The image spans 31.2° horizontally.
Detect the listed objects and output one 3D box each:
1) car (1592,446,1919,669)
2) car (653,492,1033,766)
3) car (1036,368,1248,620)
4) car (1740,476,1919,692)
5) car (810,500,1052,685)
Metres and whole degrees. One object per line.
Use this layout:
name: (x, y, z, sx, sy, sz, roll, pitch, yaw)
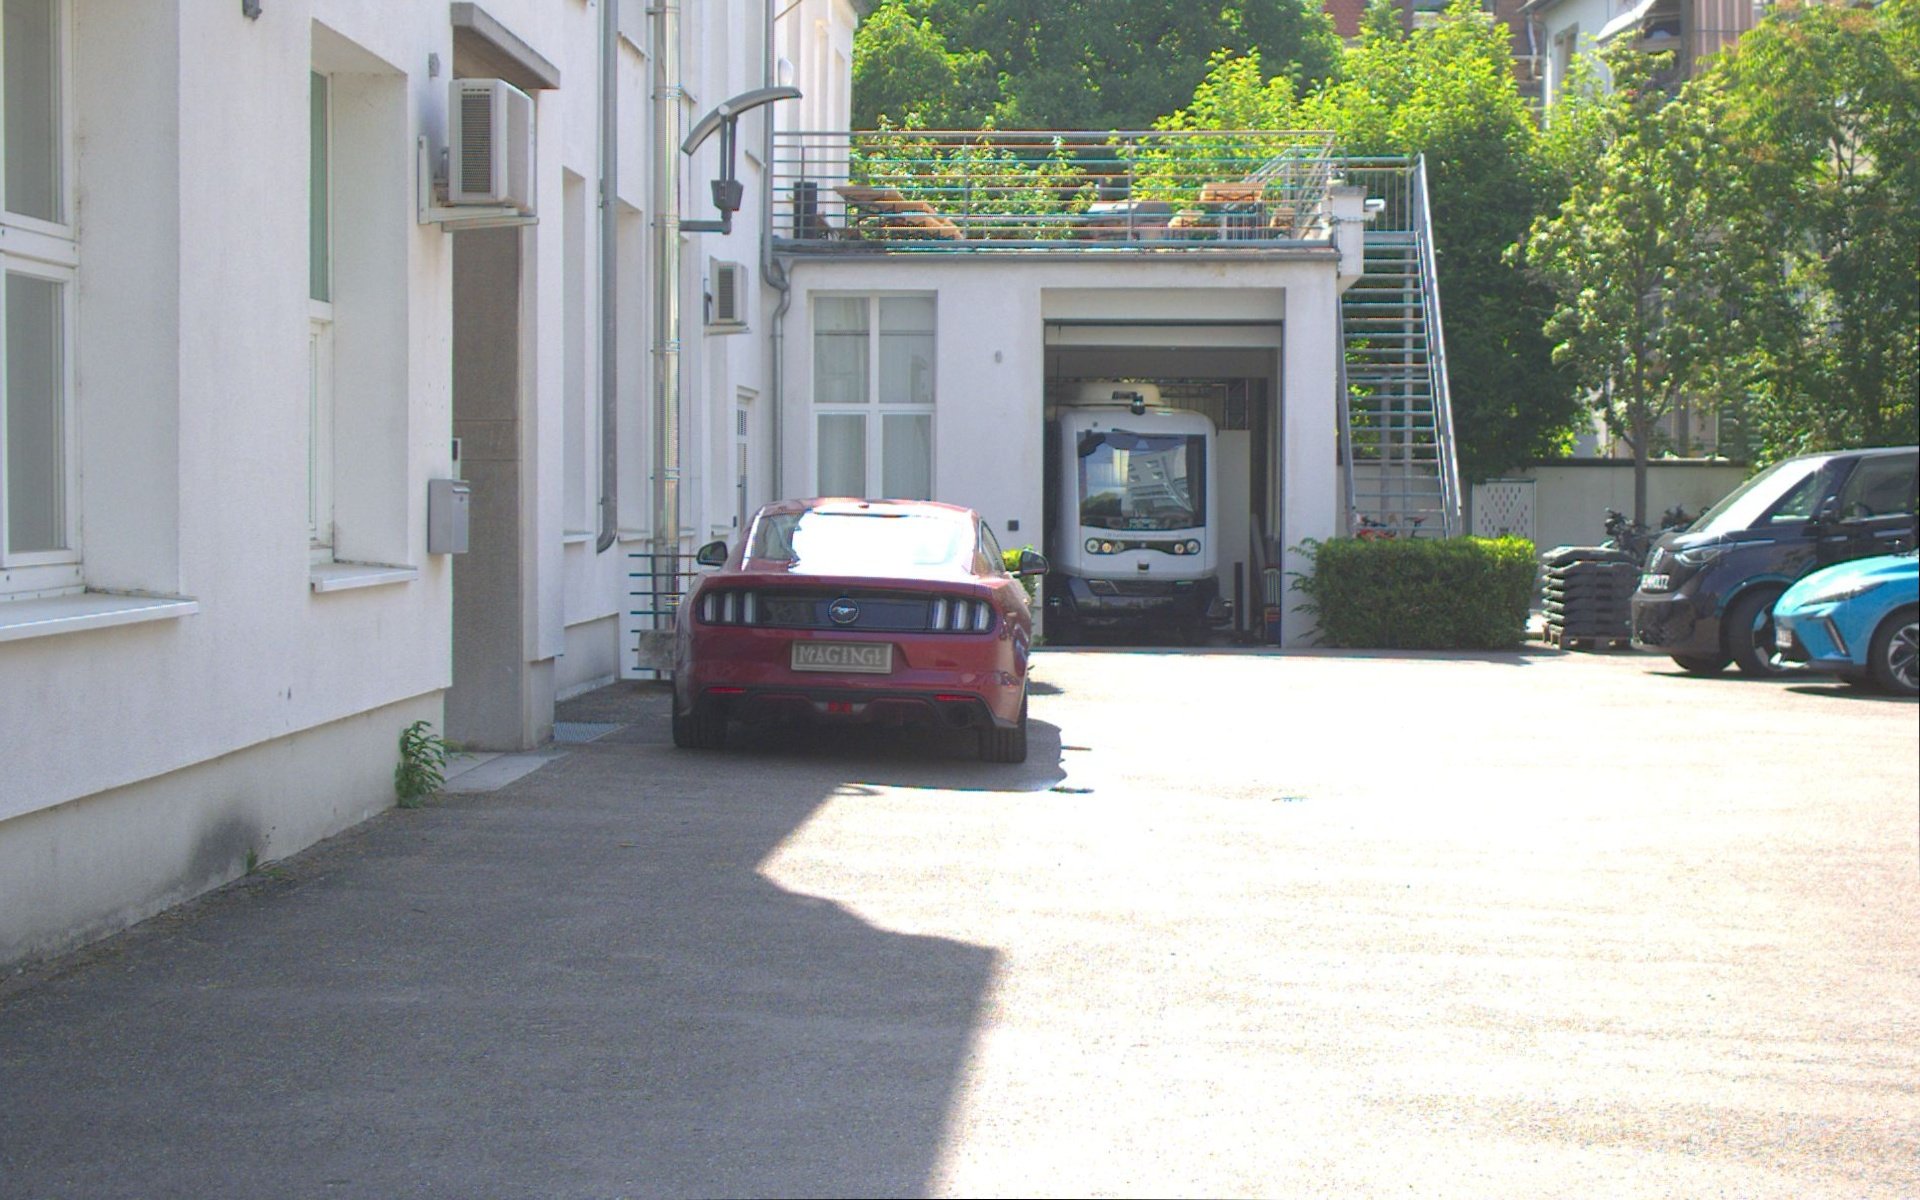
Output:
car: (8.108, -0.422, 29.249, 4.950, 1.761, 2.097, -1, 3, -9)
car: (-0.555, 0.086, 19.471, 1.852, 1.315, 4.000, 2, 2, 2)
car: (2.075, -1.182, 39.151, 2.174, 2.598, 6.734, -1, 1, 3)
car: (8.242, -0.170, 25.991, 4.229, 1.527, 2.000, -1, 3, 0)
car: (-0.157, -0.106, 26.346, 1.614, 1.291, 3.759, 0, 2, 3)
